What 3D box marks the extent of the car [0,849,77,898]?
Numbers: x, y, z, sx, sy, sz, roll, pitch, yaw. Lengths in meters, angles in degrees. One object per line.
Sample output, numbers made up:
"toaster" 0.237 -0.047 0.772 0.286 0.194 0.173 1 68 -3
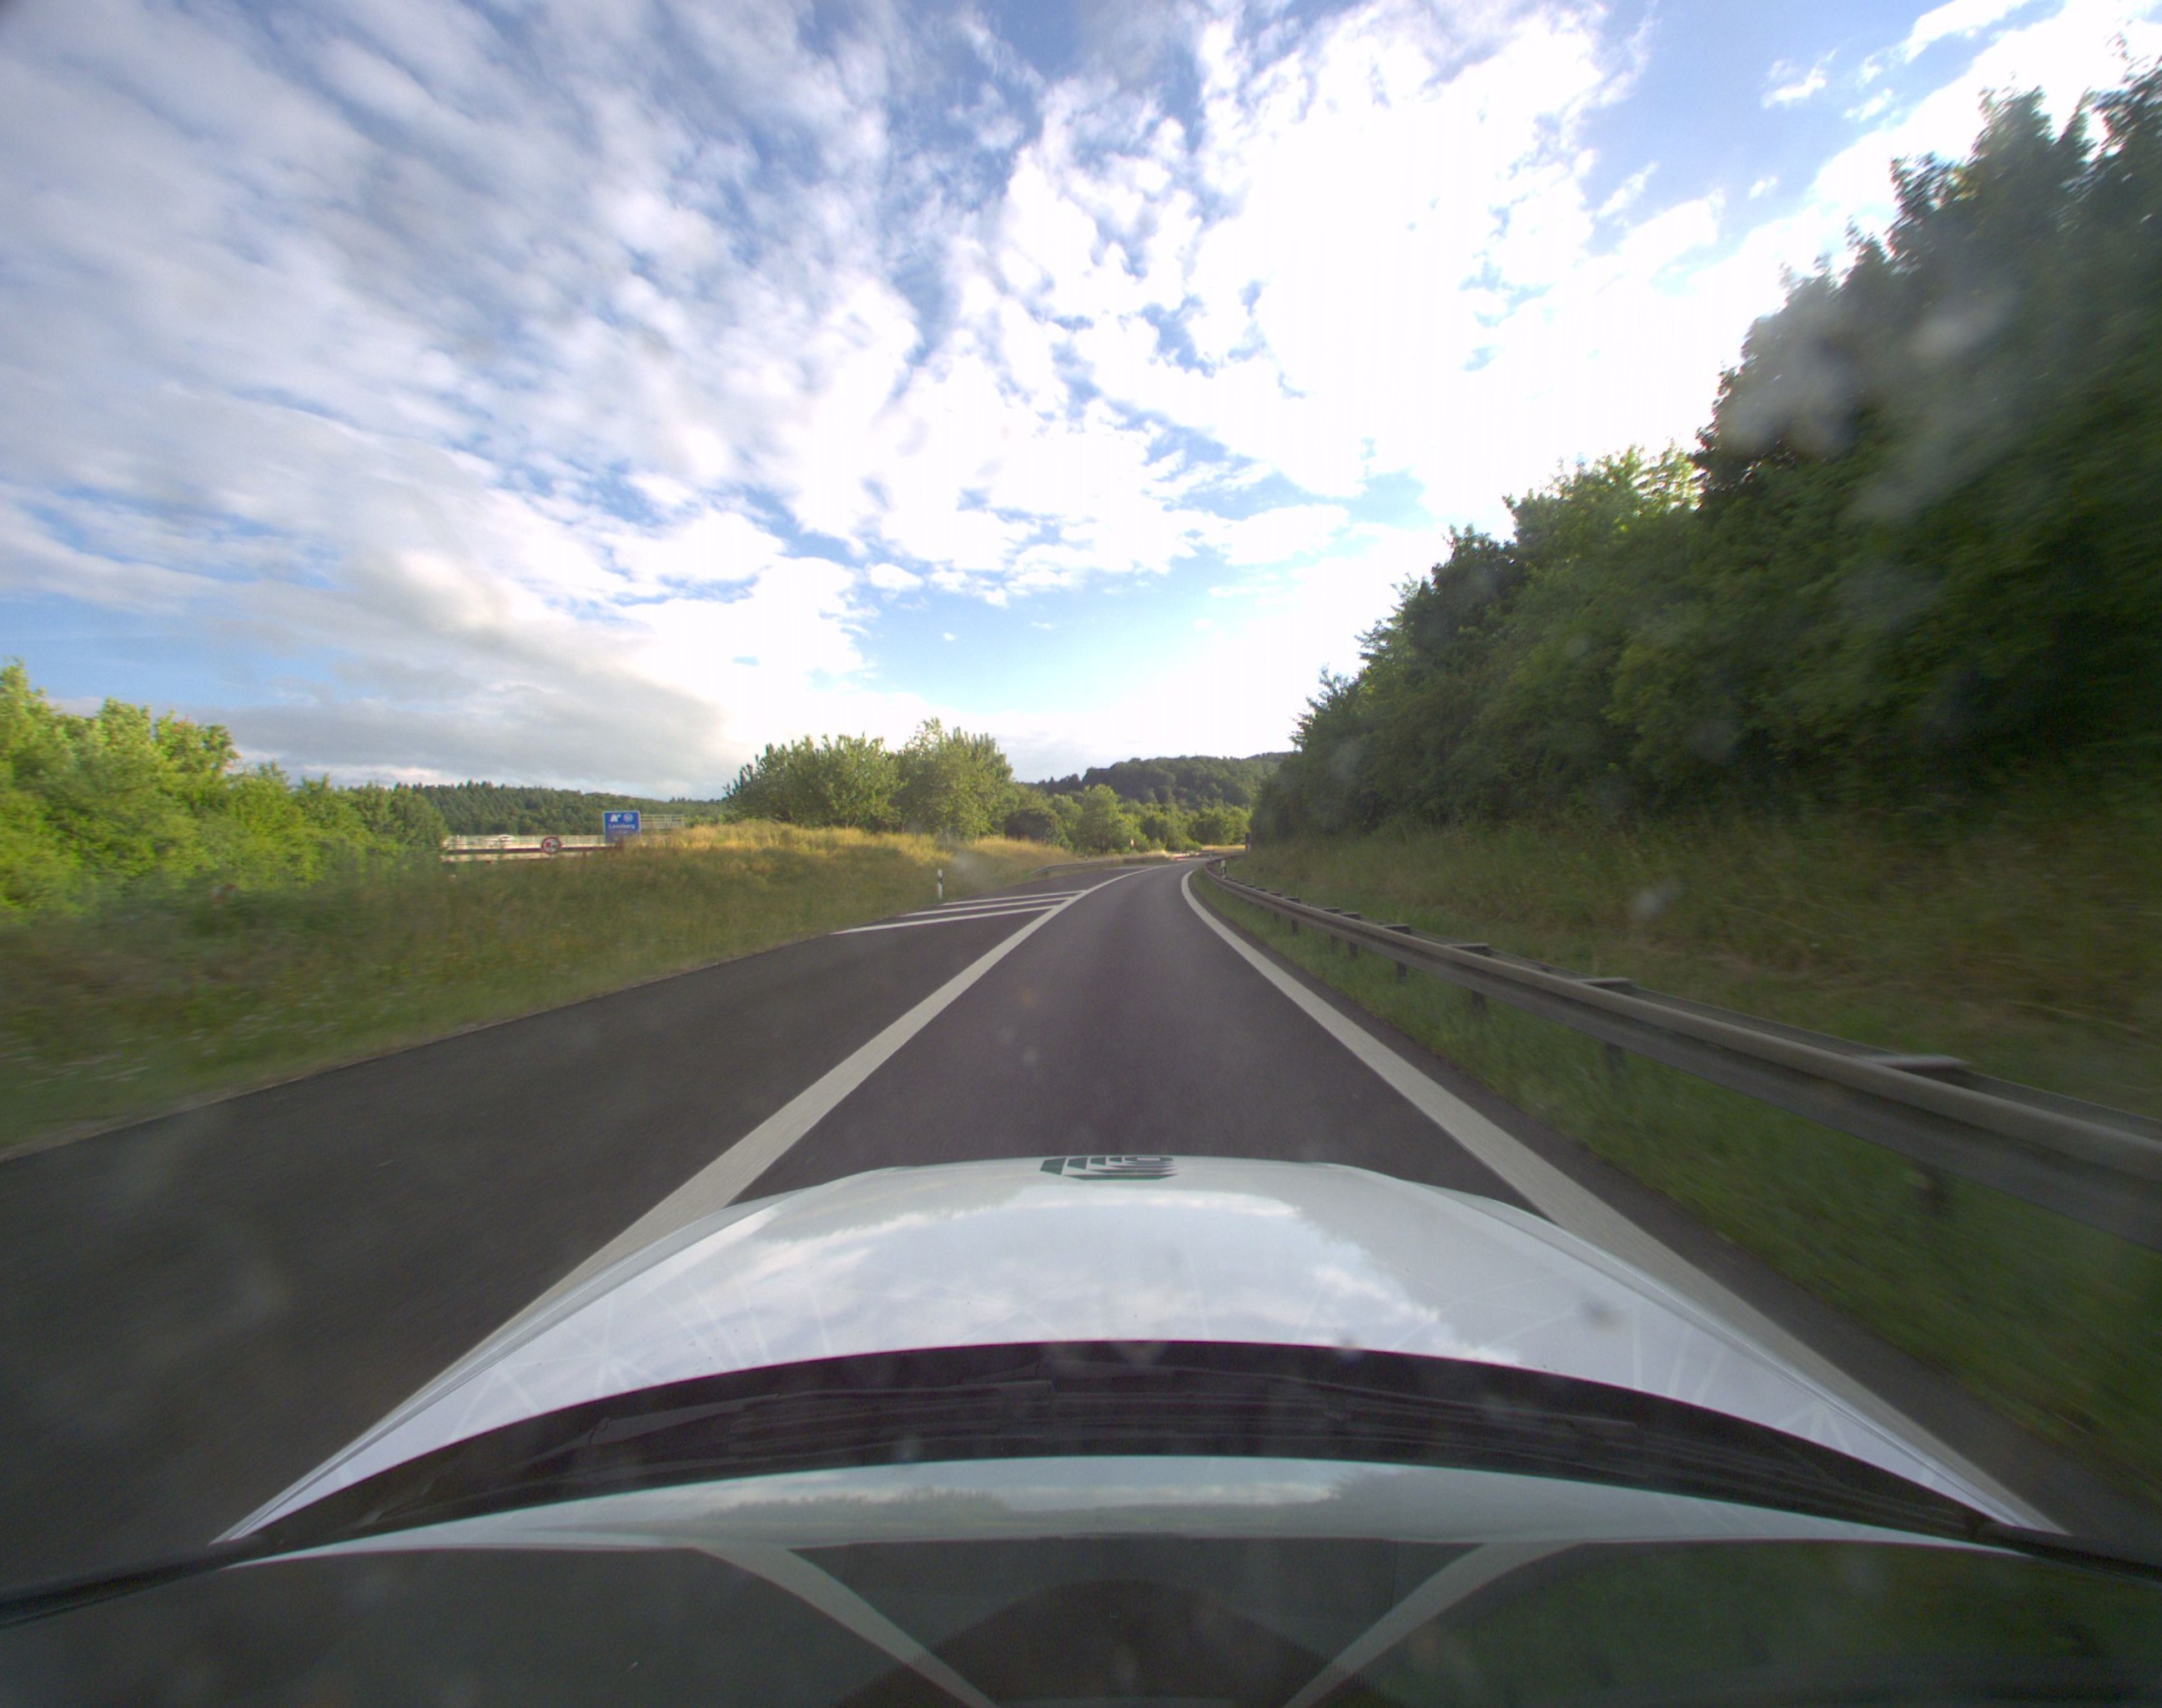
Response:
"car" -37.826 0.704 28.359 1.839 1.635 3.971 -2 -1 -21
